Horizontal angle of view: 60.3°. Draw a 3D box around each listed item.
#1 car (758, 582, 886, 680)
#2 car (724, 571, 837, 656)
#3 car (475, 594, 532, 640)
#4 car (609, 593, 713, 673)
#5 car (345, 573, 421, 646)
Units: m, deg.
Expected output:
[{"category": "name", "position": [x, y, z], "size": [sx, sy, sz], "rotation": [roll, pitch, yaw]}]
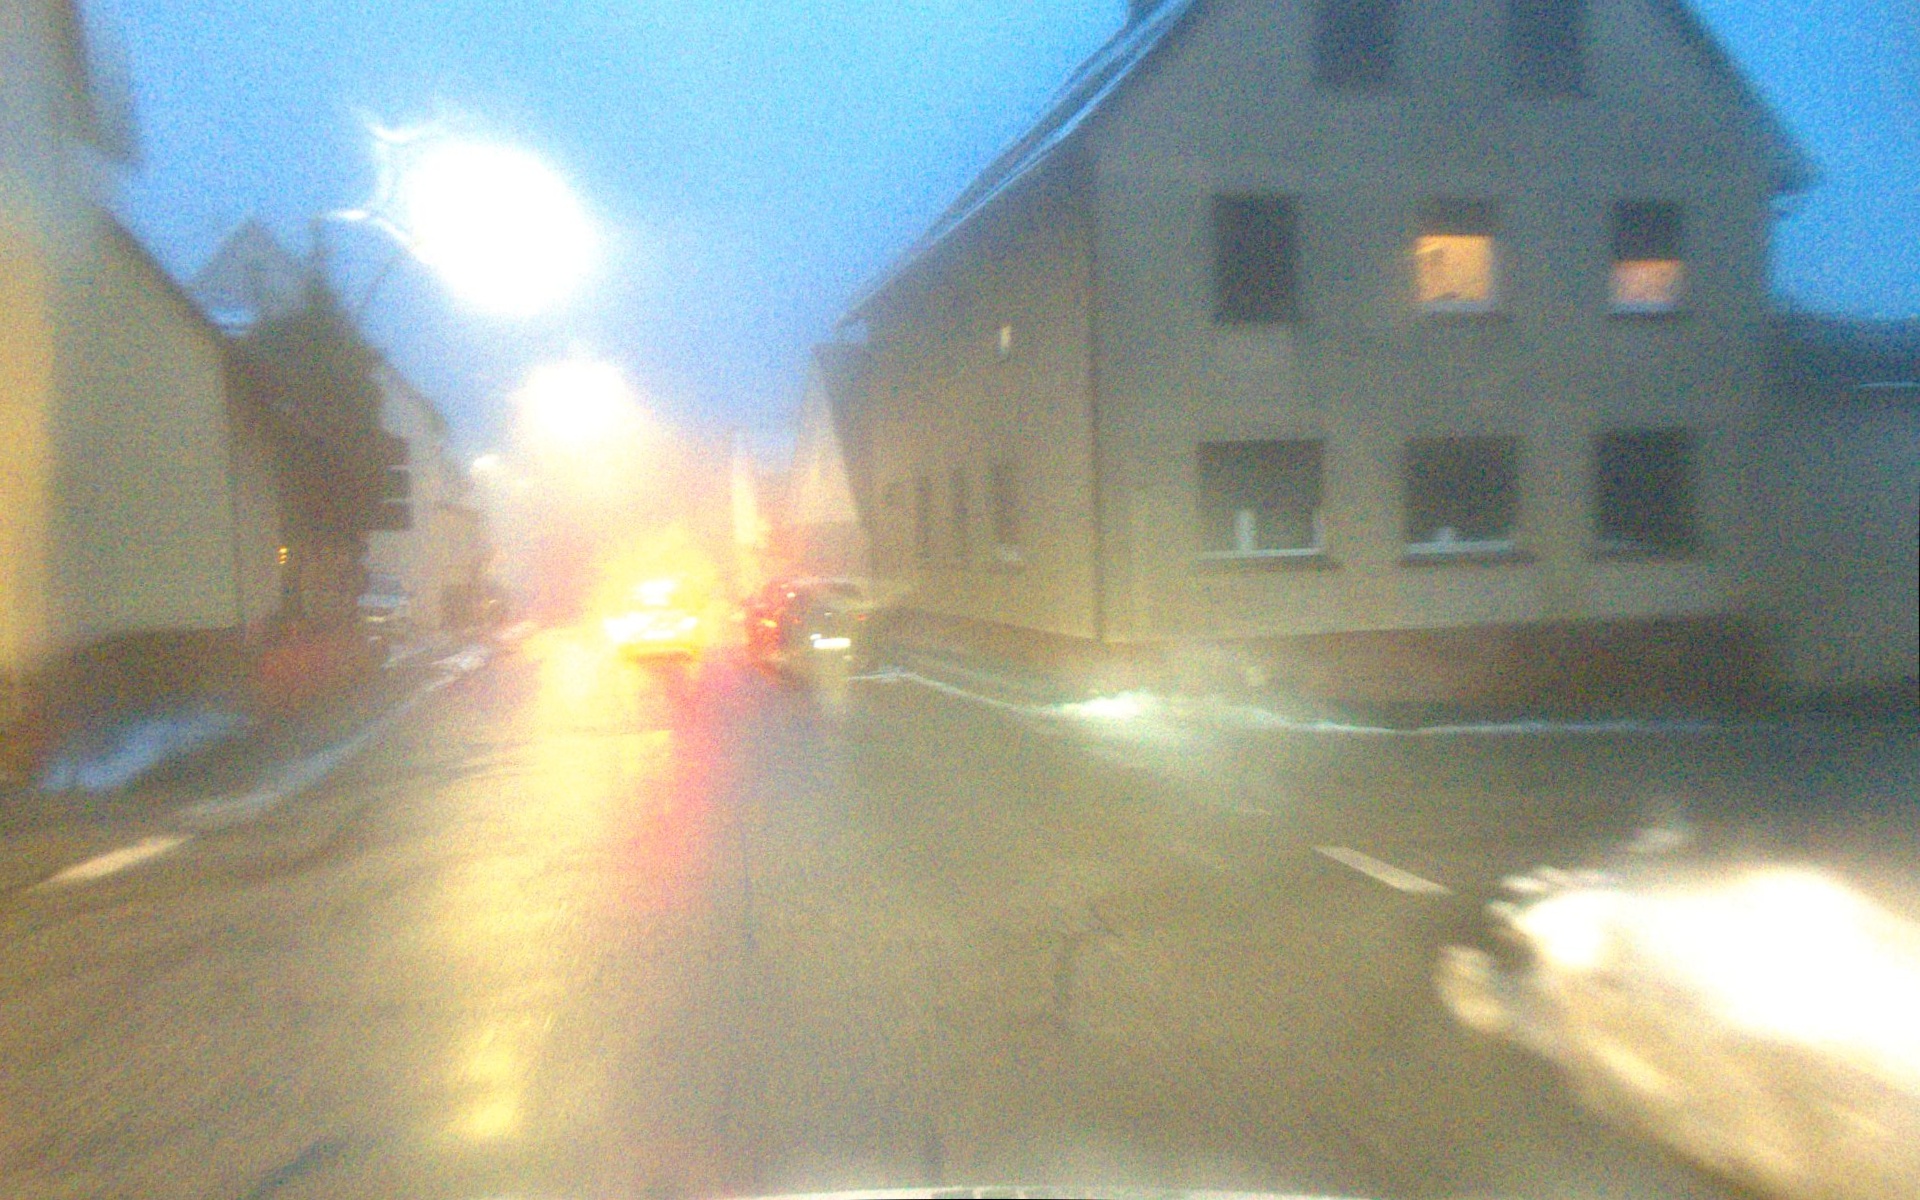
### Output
[{"category": "car", "position": [-2.377, 0.510, 27.666], "size": [1.686, 1.526, 3.895], "rotation": [0, -1, -12]}, {"category": "car", "position": [-3.629, 0.241, 32.805], "size": [1.876, 1.506, 4.271], "rotation": [-2, 1, -11]}, {"category": "car", "position": [-17.008, 0.600, 61.630], "size": [1.961, 1.549, 4.173], "rotation": [0, 2, -16]}, {"category": "car", "position": [-6.104, 0.669, 33.930], "size": [1.957, 1.534, 3.991], "rotation": [0, -1, -10]}, {"category": "car", "position": [-15.254, 0.298, 43.828], "size": [1.737, 1.767, 4.613], "rotation": [3, -2, -19]}]
